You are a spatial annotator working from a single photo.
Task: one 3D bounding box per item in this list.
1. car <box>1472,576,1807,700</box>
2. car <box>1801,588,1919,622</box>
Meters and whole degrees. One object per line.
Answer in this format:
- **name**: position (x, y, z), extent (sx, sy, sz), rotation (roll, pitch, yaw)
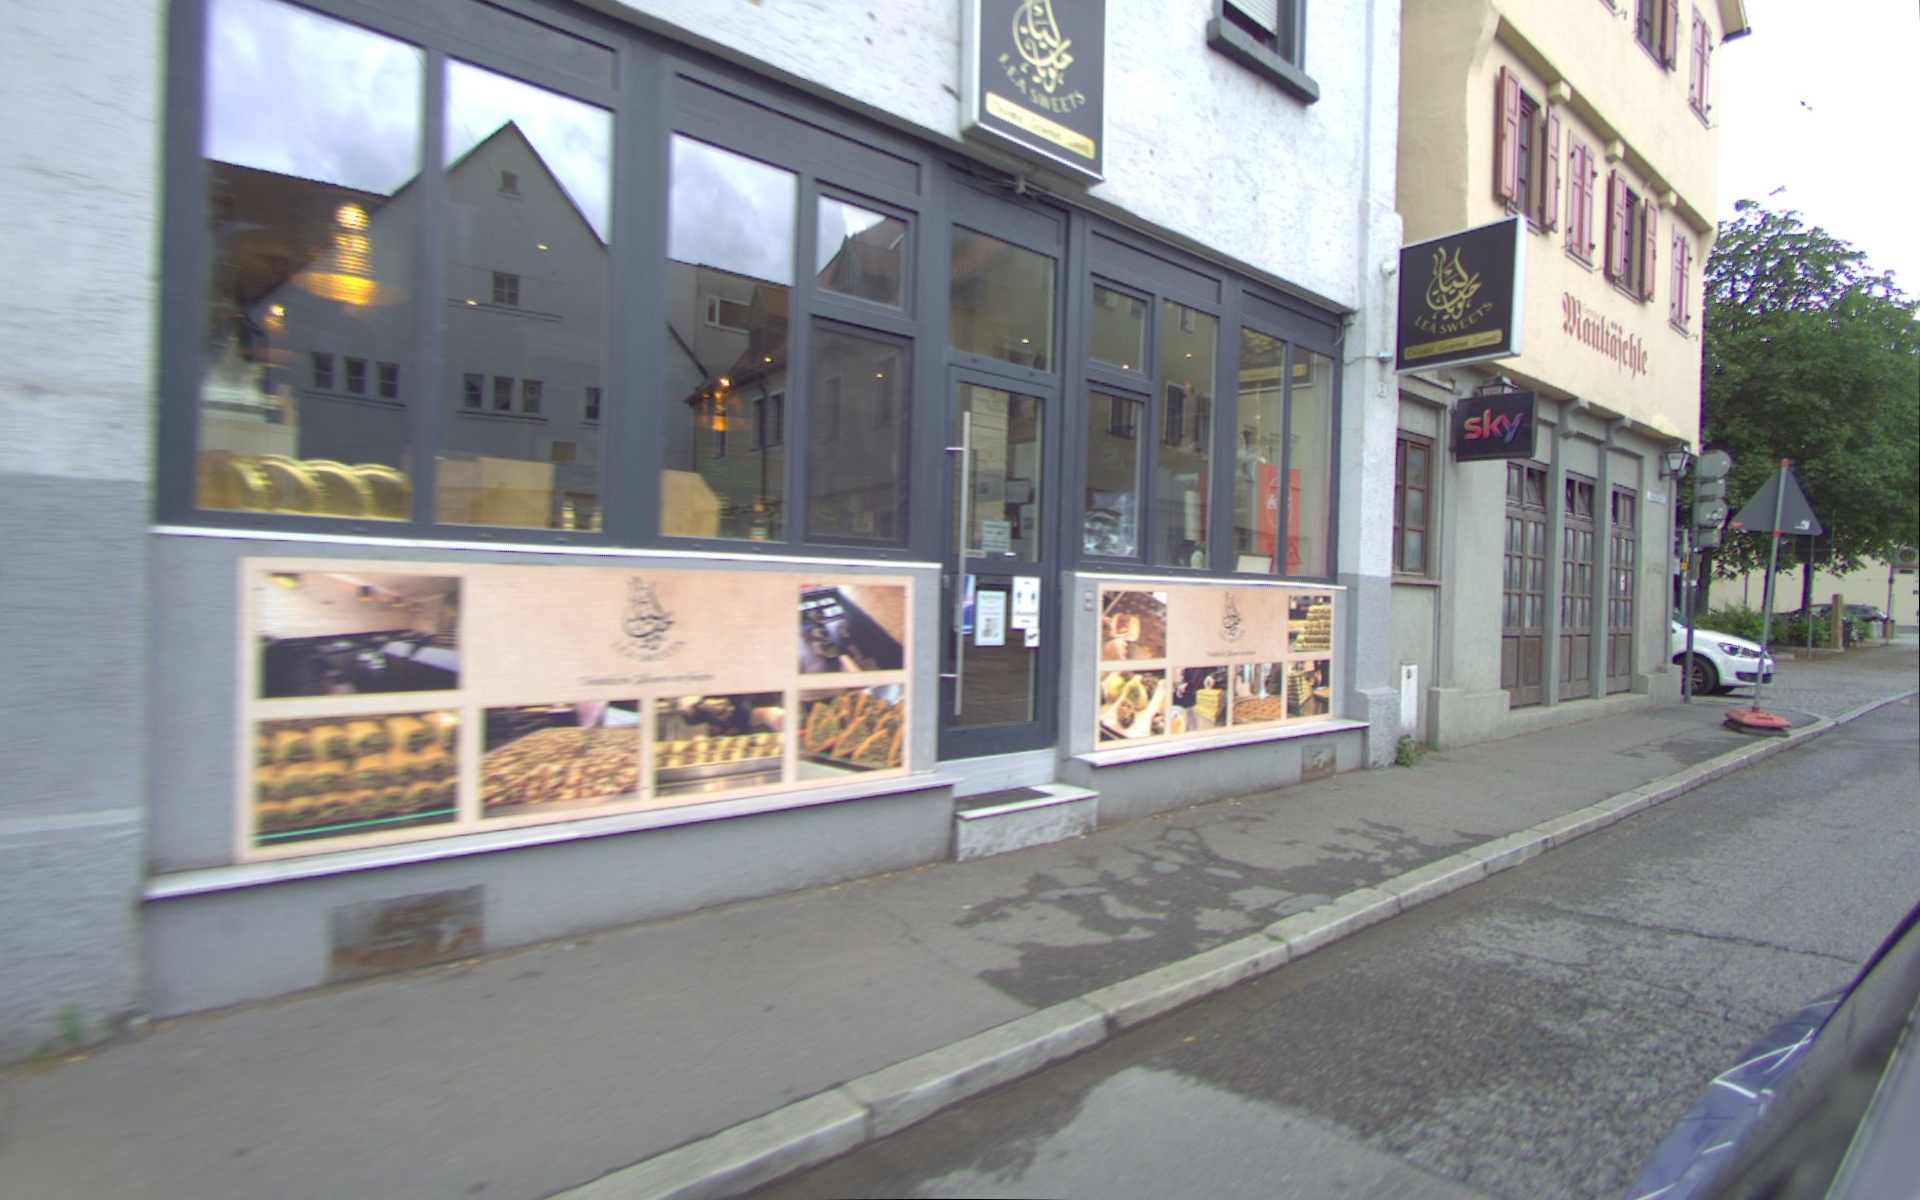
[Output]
- **car**: position (11.615, 0.519, 17.572), extent (1.965, 1.809, 4.462), rotation (-1, 2, -40)
- **car**: position (42.366, 0.189, 47.587), extent (1.963, 1.482, 3.998), rotation (-1, 1, -37)
